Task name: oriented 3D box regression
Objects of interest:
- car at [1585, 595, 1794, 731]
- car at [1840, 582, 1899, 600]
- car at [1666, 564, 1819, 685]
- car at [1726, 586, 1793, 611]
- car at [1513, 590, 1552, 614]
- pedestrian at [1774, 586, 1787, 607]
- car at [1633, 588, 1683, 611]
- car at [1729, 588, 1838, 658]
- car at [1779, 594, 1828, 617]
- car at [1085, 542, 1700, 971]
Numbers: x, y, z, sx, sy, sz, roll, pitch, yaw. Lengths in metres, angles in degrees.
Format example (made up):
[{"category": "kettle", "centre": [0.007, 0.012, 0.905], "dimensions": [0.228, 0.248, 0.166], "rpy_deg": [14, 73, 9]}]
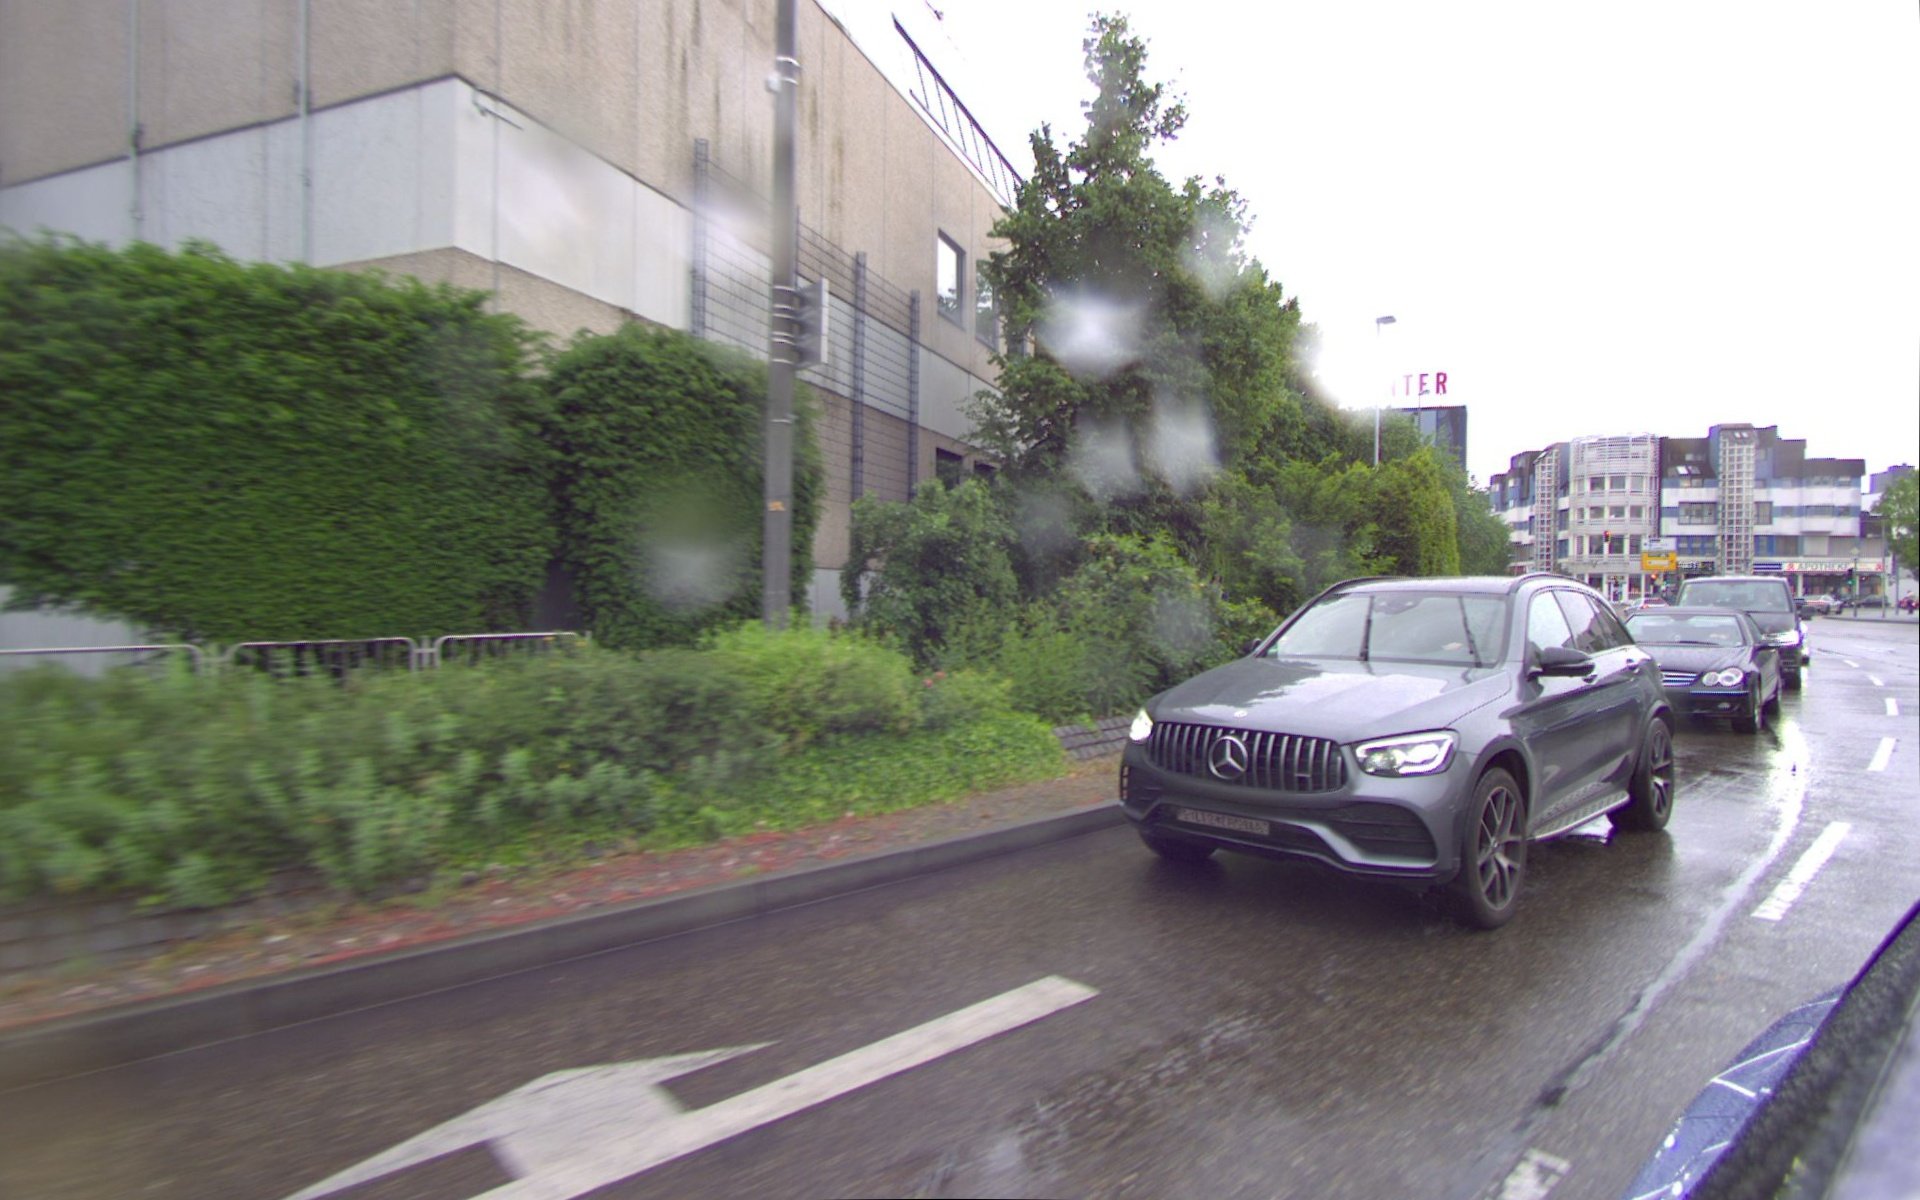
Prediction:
[{"category": "car", "centre": [9.349, 0.654, 12.824], "dimensions": [1.631, 1.403, 4.445], "rpy_deg": [0, 0, 43]}, {"category": "car", "centre": [86.334, -0.854, 96.138], "dimensions": [3.830, 1.742, 1.743], "rpy_deg": [0, 0, 8]}, {"category": "car", "centre": [14.310, 0.353, 18.423], "dimensions": [1.993, 1.918, 4.520], "rpy_deg": [0, 1, 40]}, {"category": "car", "centre": [49.386, -0.107, 62.604], "dimensions": [1.825, 1.479, 4.776], "rpy_deg": [0, 0, 20]}, {"category": "car", "centre": [40.120, 0.094, 71.006], "dimensions": [1.716, 1.616, 3.974], "rpy_deg": [0, 1, 20]}, {"category": "pedestrian", "centre": [70.170, -0.333, 86.545], "dimensions": [0.574, 1.765, 0.683], "rpy_deg": [-1, 0, -38]}, {"category": "car", "centre": [46.375, -0.047, 67.319], "dimensions": [1.741, 1.470, 3.974], "rpy_deg": [0, 0, 20]}, {"category": "car", "centre": [20.258, 0.495, 24.842], "dimensions": [1.757, 1.569, 4.259], "rpy_deg": [0, 0, 43]}, {"category": "car", "centre": [53.741, 0.353, 64.541], "dimensions": [1.748, 1.445, 3.957], "rpy_deg": [0, 0, 30]}, {"category": "car", "centre": [2.828, 0.578, 6.049], "dimensions": [4.264, 1.641, 1.902], "rpy_deg": [-1, 0, -44]}]
